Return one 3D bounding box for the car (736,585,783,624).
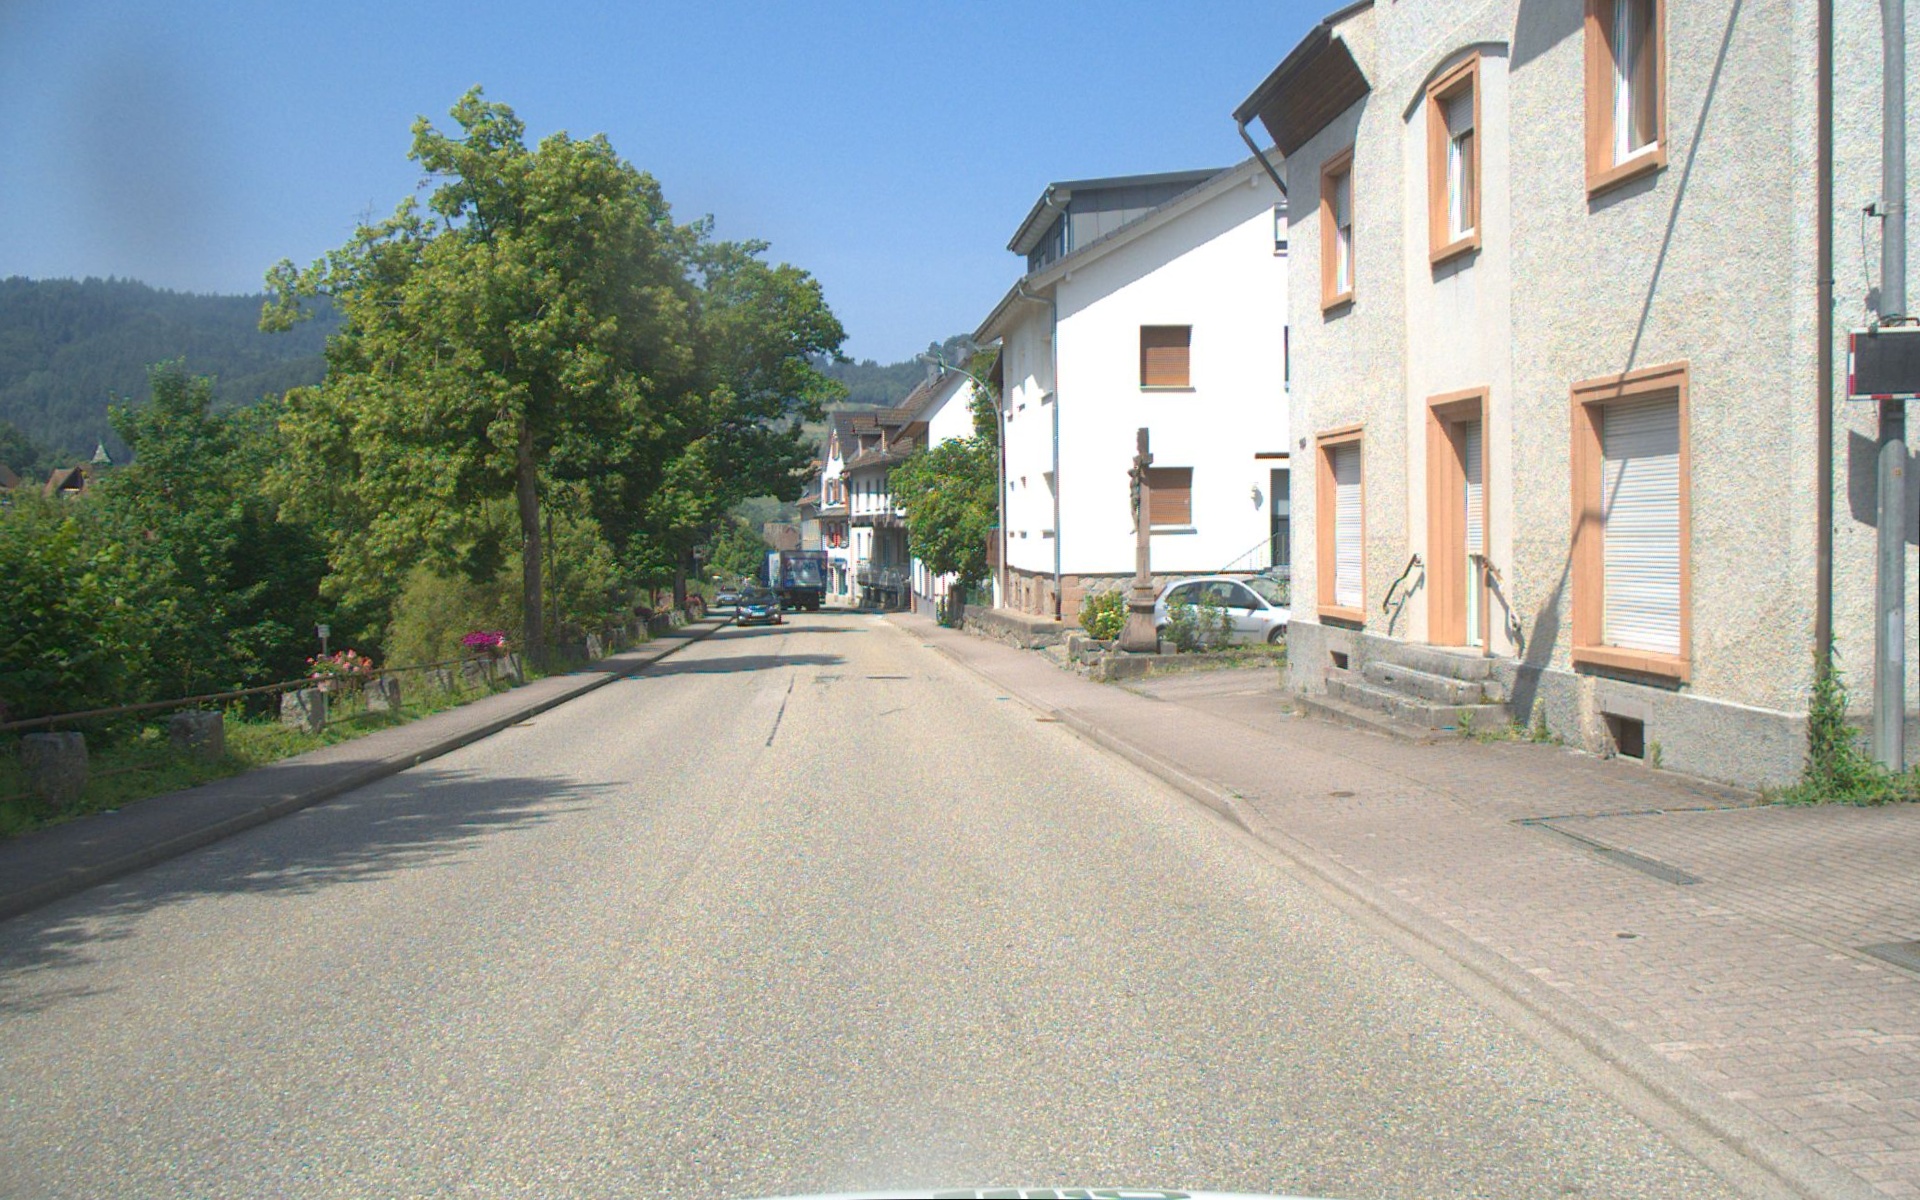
[{"bbox_3d":[-7.955,0.161,65.878,1.634,1.442,4.083,-3,0,-4],"label":"car"}]

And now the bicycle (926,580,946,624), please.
[{"bbox_3d":[-0.810,0.052,55.692,0.417,1.420,2.275,-4,1,-4],"label":"bicycle"}]

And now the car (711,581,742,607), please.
[{"bbox_3d":[-18.030,-0.426,127.684,1.745,1.764,3.983,-4,-1,-15],"label":"car"}]

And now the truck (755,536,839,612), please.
[{"bbox_3d":[-9.720,-1.450,97.557,3.309,3.847,8.403,-4,-1,-16],"label":"truck"}]

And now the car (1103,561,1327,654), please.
[{"bbox_3d":[4.601,0.147,30.104,3.707,1.452,1.601,-3,1,41],"label":"car"}]
